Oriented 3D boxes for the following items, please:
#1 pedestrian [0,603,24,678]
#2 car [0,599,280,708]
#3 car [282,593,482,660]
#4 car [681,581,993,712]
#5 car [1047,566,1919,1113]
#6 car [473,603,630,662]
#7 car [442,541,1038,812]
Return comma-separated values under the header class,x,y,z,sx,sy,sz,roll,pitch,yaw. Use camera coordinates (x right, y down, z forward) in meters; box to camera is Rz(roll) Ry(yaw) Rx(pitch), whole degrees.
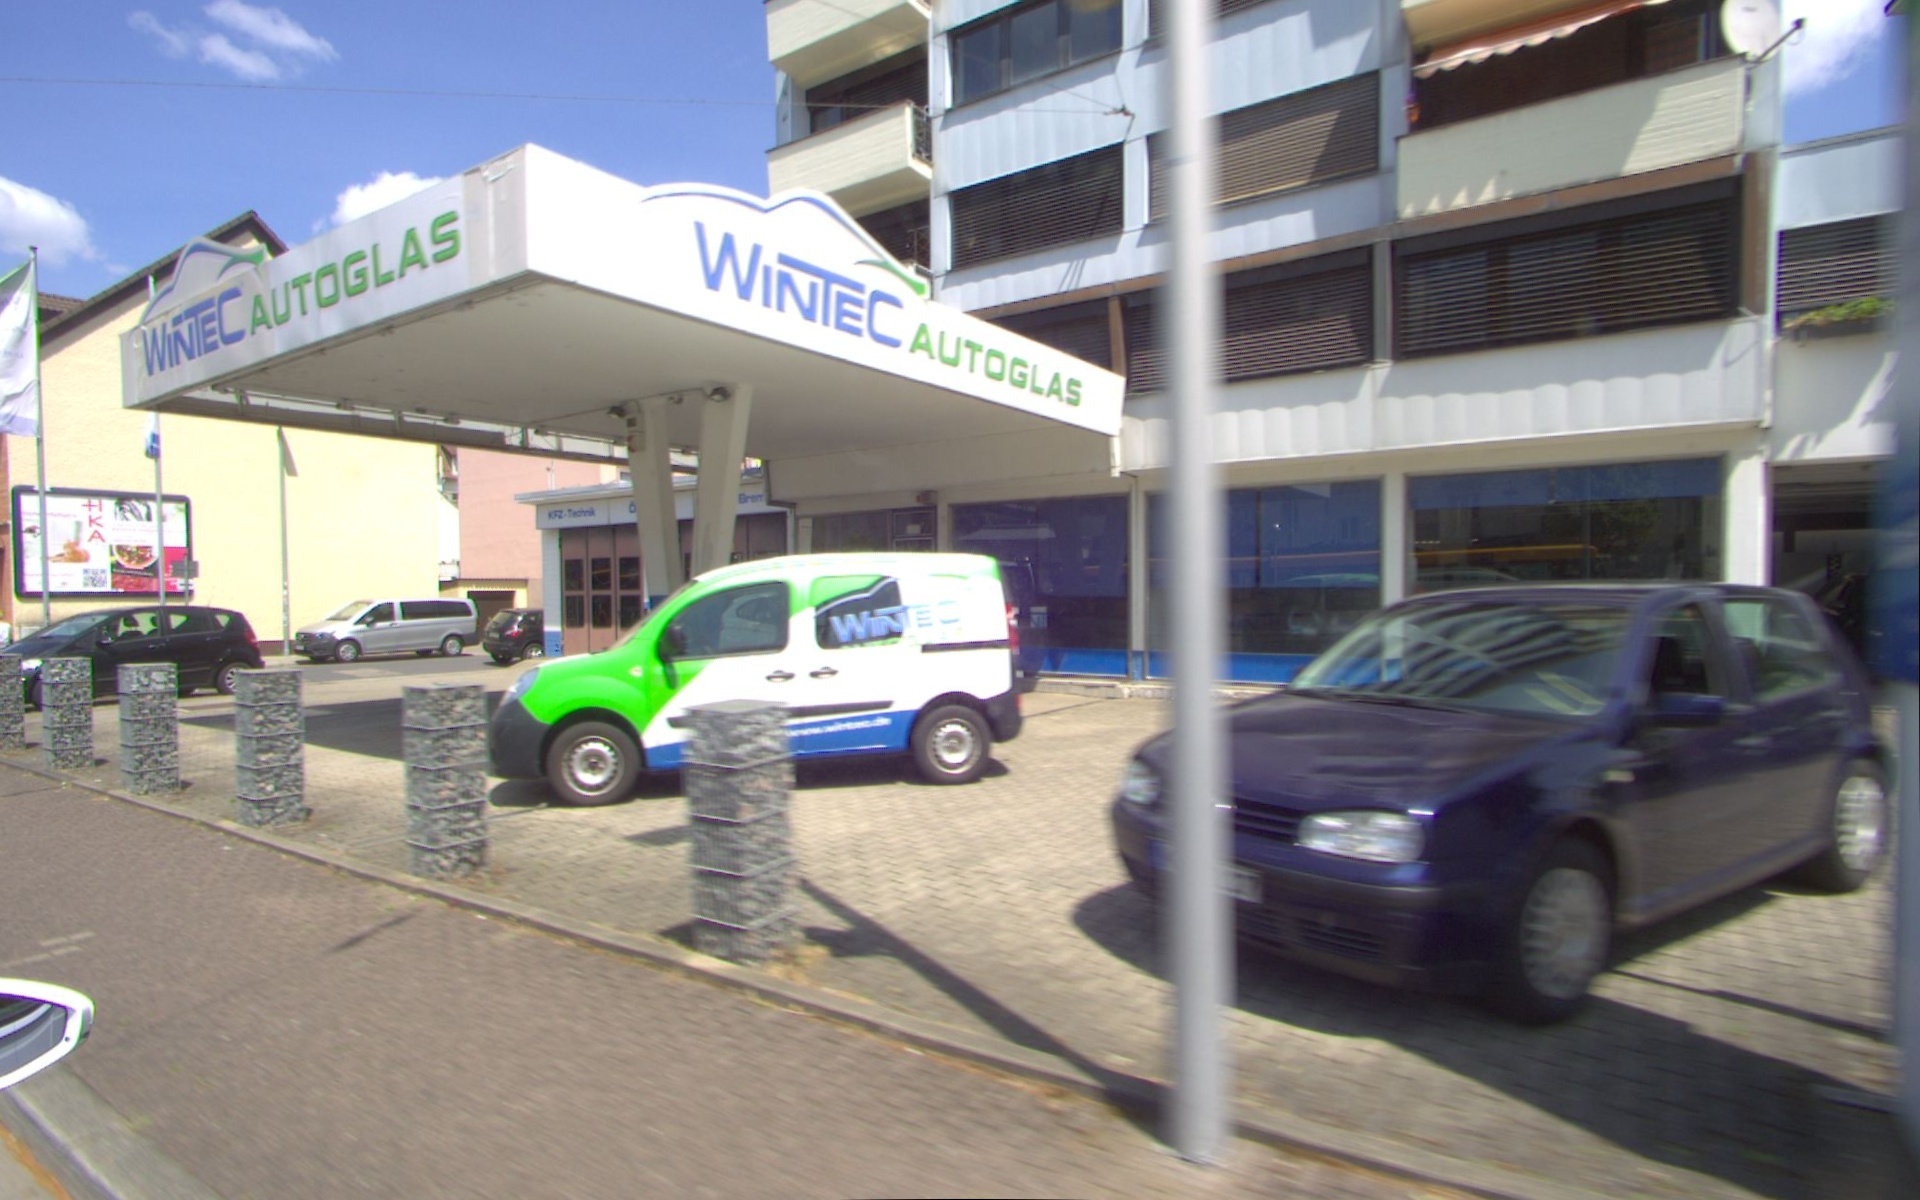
class,x,y,z,sx,sy,sz,roll,pitch,yaw
pedestrian,-21.683,0.912,22.573,0.698,1.664,0.655,-2,3,-34
car,-13.765,0.780,16.501,1.811,1.563,3.878,-1,0,23
car,-17.722,0.761,30.988,1.881,1.886,5.043,-1,0,32
car,-1.908,0.602,14.687,4.644,1.648,1.740,0,0,37
car,2.473,0.612,4.416,3.916,1.448,1.691,-2,1,-31
car,-11.827,0.912,29.202,1.819,1.563,3.861,-1,0,37
car,-1.661,0.557,8.141,4.213,1.812,1.821,0,-2,-15
